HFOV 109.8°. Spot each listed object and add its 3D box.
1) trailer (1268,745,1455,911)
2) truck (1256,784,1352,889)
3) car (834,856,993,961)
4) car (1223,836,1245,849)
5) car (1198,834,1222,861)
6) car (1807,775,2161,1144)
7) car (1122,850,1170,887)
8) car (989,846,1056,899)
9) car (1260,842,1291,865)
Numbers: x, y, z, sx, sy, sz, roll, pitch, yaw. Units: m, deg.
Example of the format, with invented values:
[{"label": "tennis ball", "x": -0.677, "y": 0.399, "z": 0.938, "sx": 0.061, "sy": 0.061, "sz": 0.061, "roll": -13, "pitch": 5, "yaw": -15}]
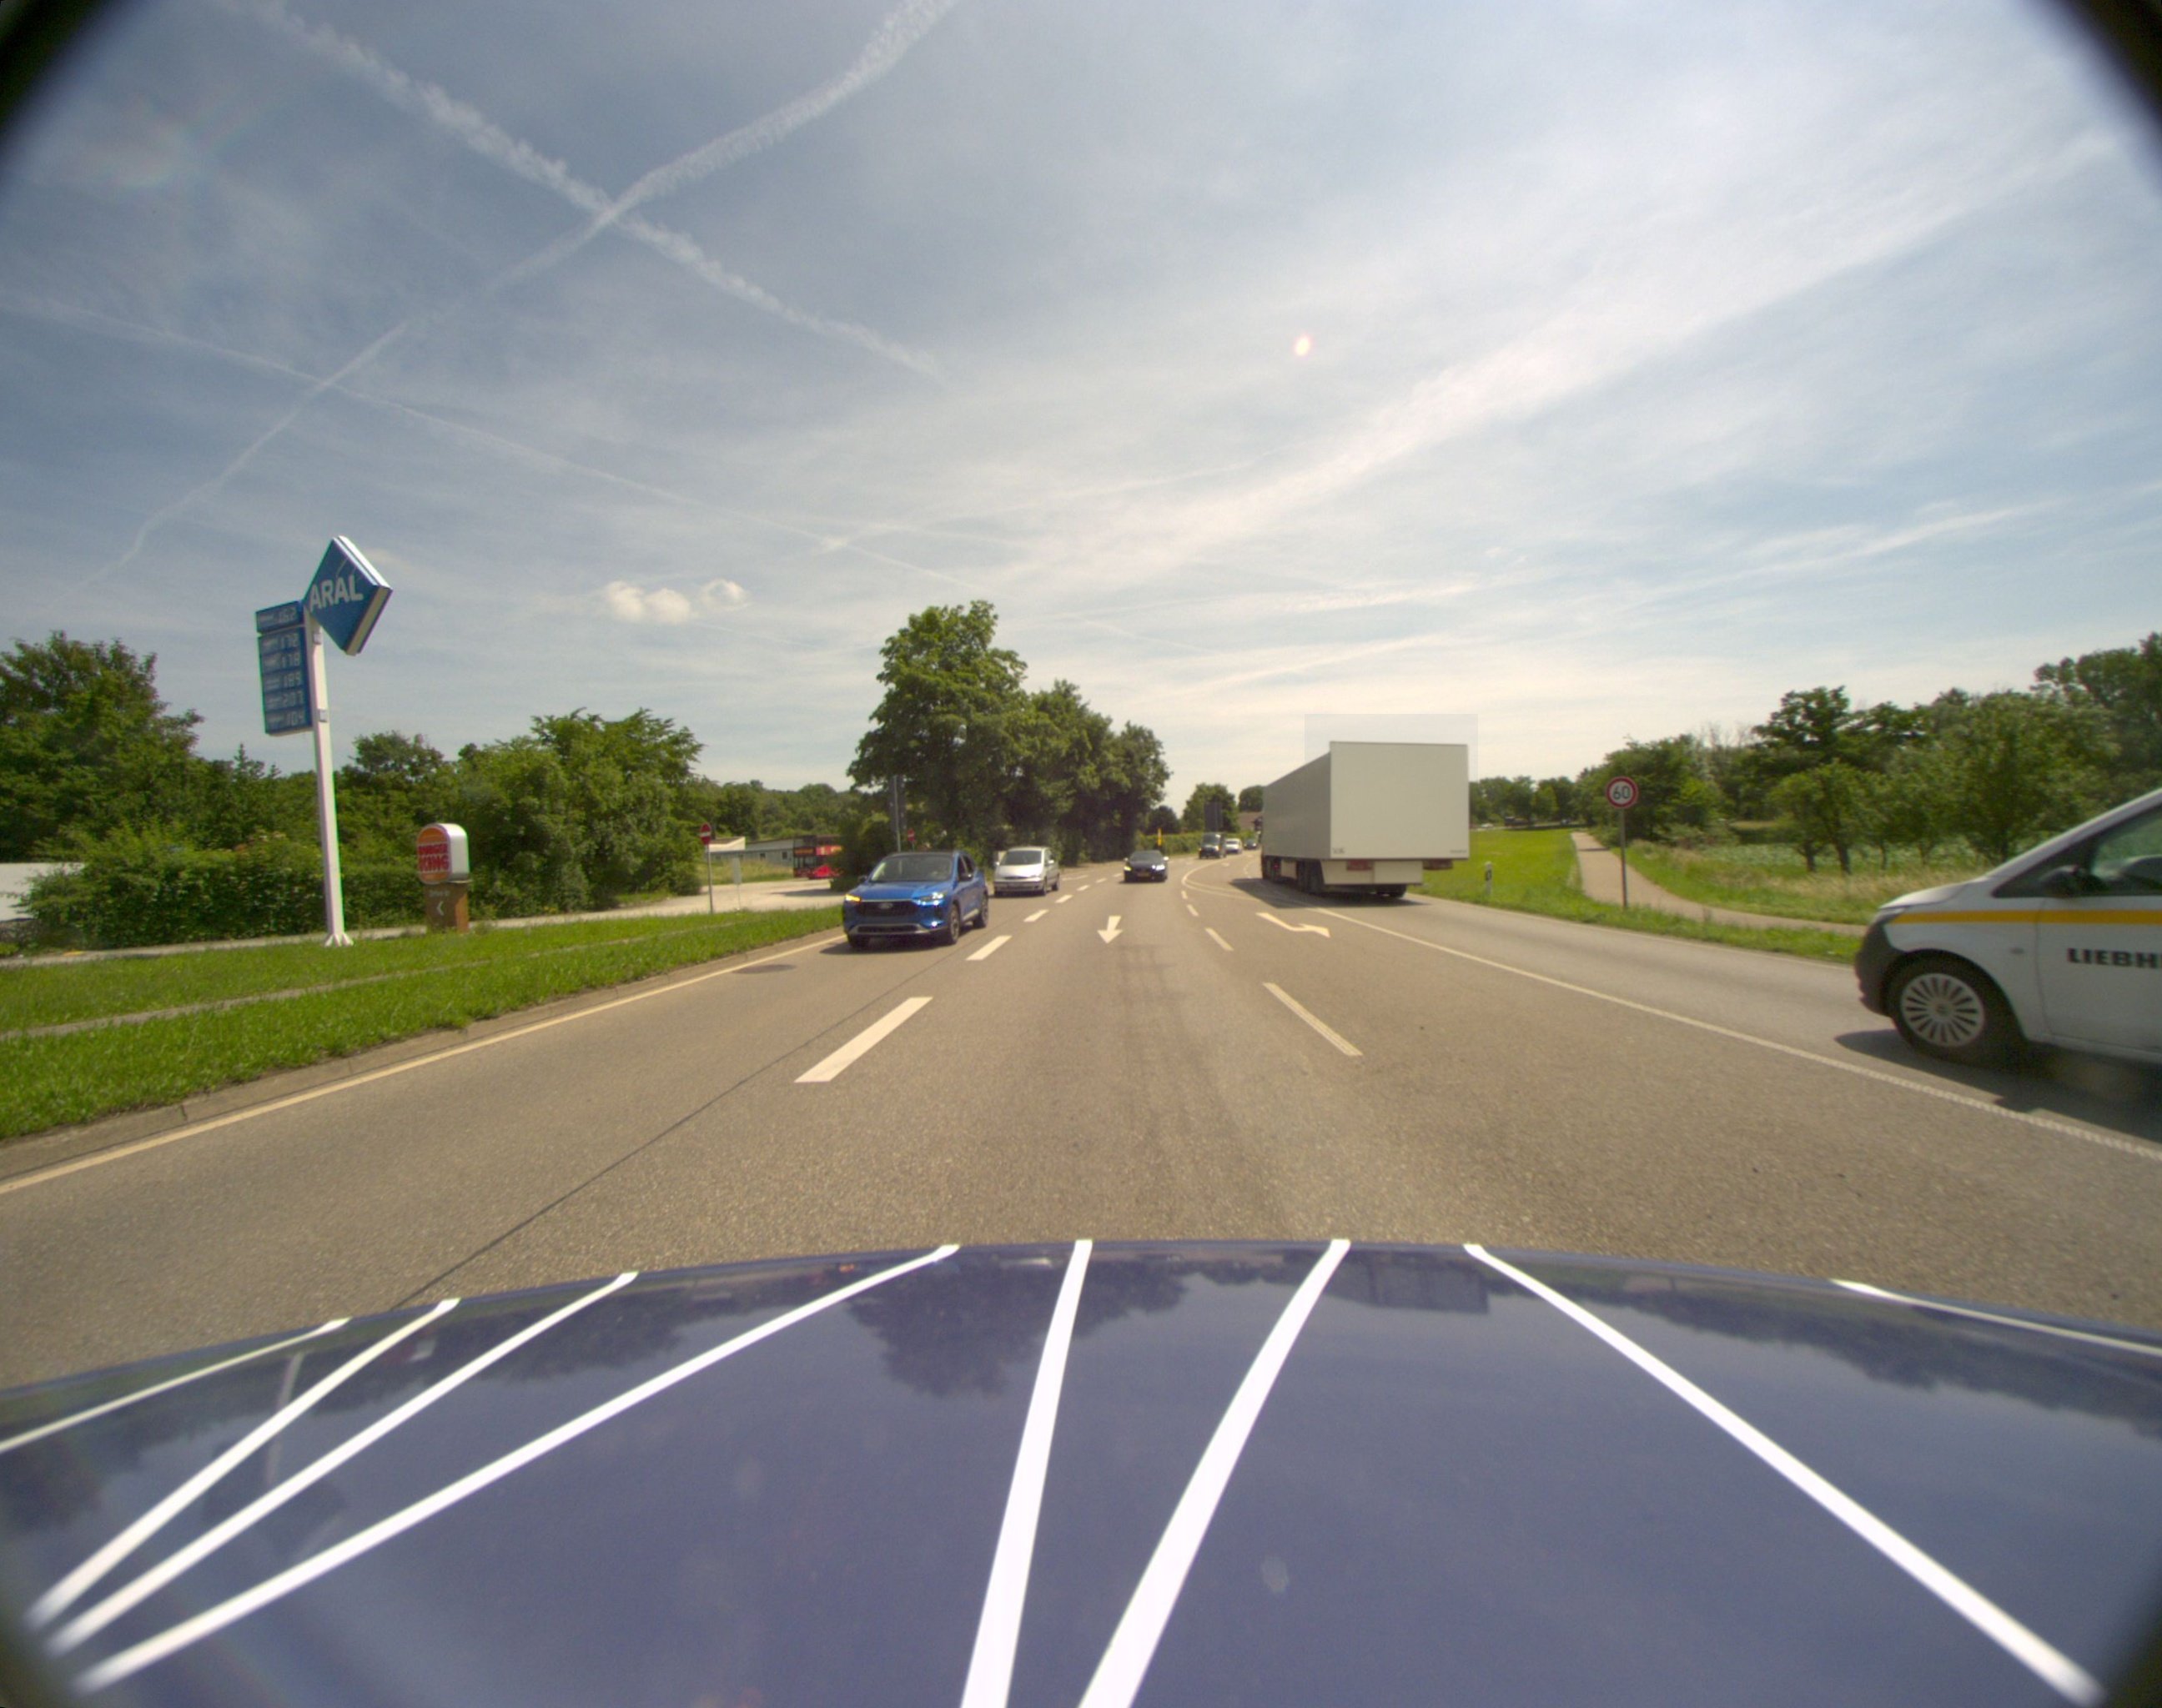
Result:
[{"label": "trailer", "x": 8.327, "y": -0.711, "z": 24.561, "sx": 2.783, "sy": 4.078, "sz": 11.664, "roll": 0, "pitch": 1, "yaw": 6}, {"label": "truck", "x": 9.061, "y": -0.685, "z": 31.488, "sx": 2.783, "sy": 3.920, "sz": 5.707, "roll": 0, "pitch": 1, "yaw": 6}, {"label": "car", "x": -2.942, "y": 0.879, "z": 14.390, "sx": 1.783, "sy": 1.550, "sz": 4.388, "roll": -1, "pitch": 1, "yaw": 3}, {"label": "car", "x": 18.030, "y": -1.385, "z": 89.443, "sx": 1.780, "sy": 1.484, "sz": 4.163, "roll": -1, "pitch": 1, "yaw": 22}, {"label": "car", "x": 12.573, "y": -0.685, "z": 74.305, "sx": 1.980, "sy": 2.504, "sz": 4.158, "roll": -1, "pitch": 1, "yaw": 5}, {"label": "car", "x": 6.370, "y": 0.509, "z": 3.080, "sx": 1.878, "sy": 1.854, "sz": 5.141, "roll": -1, "pitch": 0, "yaw": -1}, {"label": "car", "x": 3.012, "y": 0.606, "z": 34.437, "sx": 1.782, "sy": 1.484, "sz": 4.160, "roll": -2, "pitch": 0, "yaw": 9}, {"label": "car", "x": -2.004, "y": 0.586, "z": 27.337, "sx": 1.865, "sy": 1.682, "sz": 4.526, "roll": -1, "pitch": 1, "yaw": 2}, {"label": "car", "x": 14.368, "y": -0.046, "z": 56.071, "sx": 1.617, "sy": 1.550, "sz": 4.005, "roll": -1, "pitch": 1, "yaw": 23}]
